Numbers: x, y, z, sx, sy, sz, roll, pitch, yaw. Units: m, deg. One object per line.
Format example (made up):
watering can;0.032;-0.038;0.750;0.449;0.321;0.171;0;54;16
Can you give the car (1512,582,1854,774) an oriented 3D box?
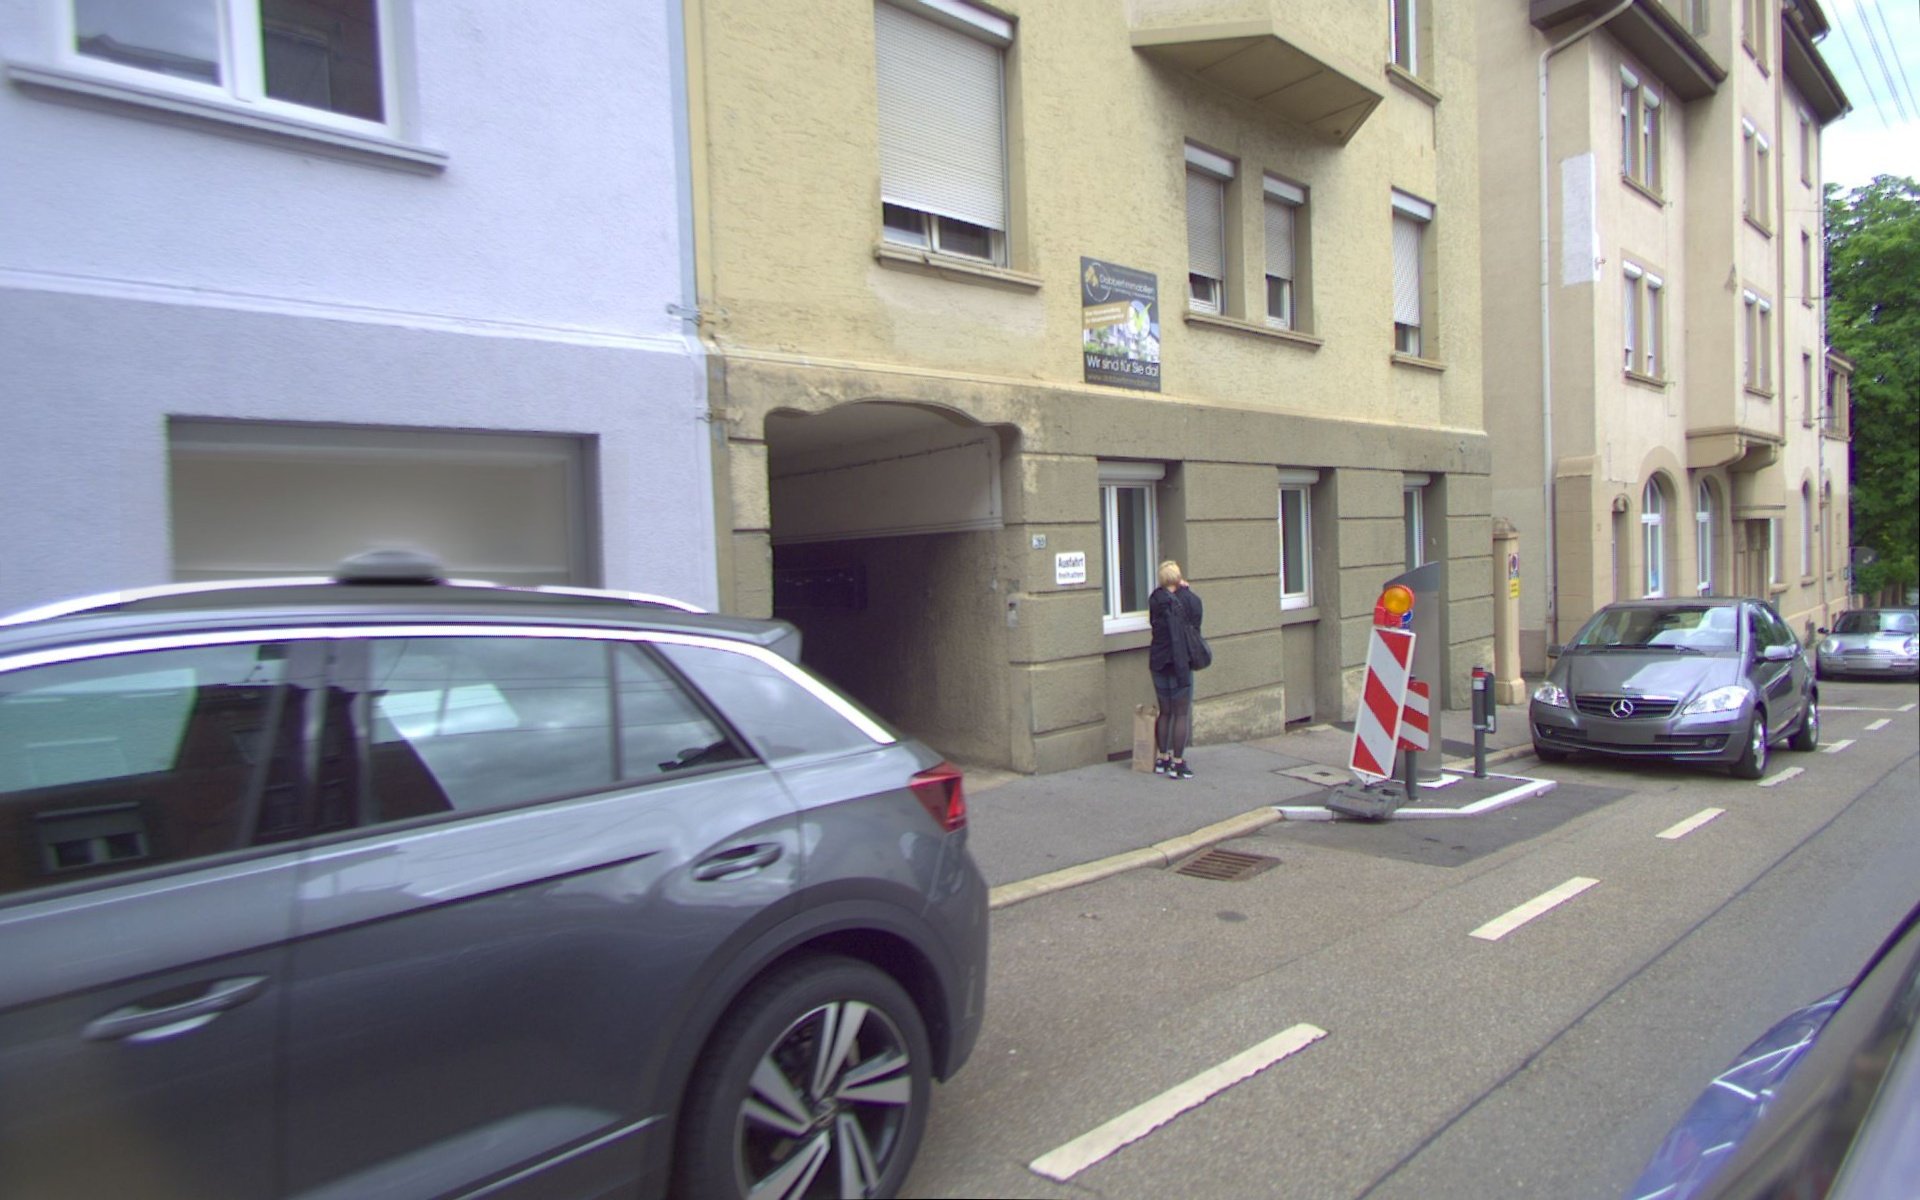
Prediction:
car;7.320;0.648;10.112;3.956;1.538;1.830;0;-2;-40

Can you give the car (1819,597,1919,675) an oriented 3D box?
car;18.497;0.677;20.025;3.602;1.422;1.698;0;-2;-40

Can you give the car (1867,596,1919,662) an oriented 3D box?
car;22.902;0.629;23.782;4.095;1.421;1.842;-1;-1;-41

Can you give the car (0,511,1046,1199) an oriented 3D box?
car;-1.925;0.701;1.971;4.120;1.550;1.781;-1;-3;-42

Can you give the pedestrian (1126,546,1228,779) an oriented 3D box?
pedestrian;1.683;0.452;7.868;0.540;1.701;0.509;5;6;41
